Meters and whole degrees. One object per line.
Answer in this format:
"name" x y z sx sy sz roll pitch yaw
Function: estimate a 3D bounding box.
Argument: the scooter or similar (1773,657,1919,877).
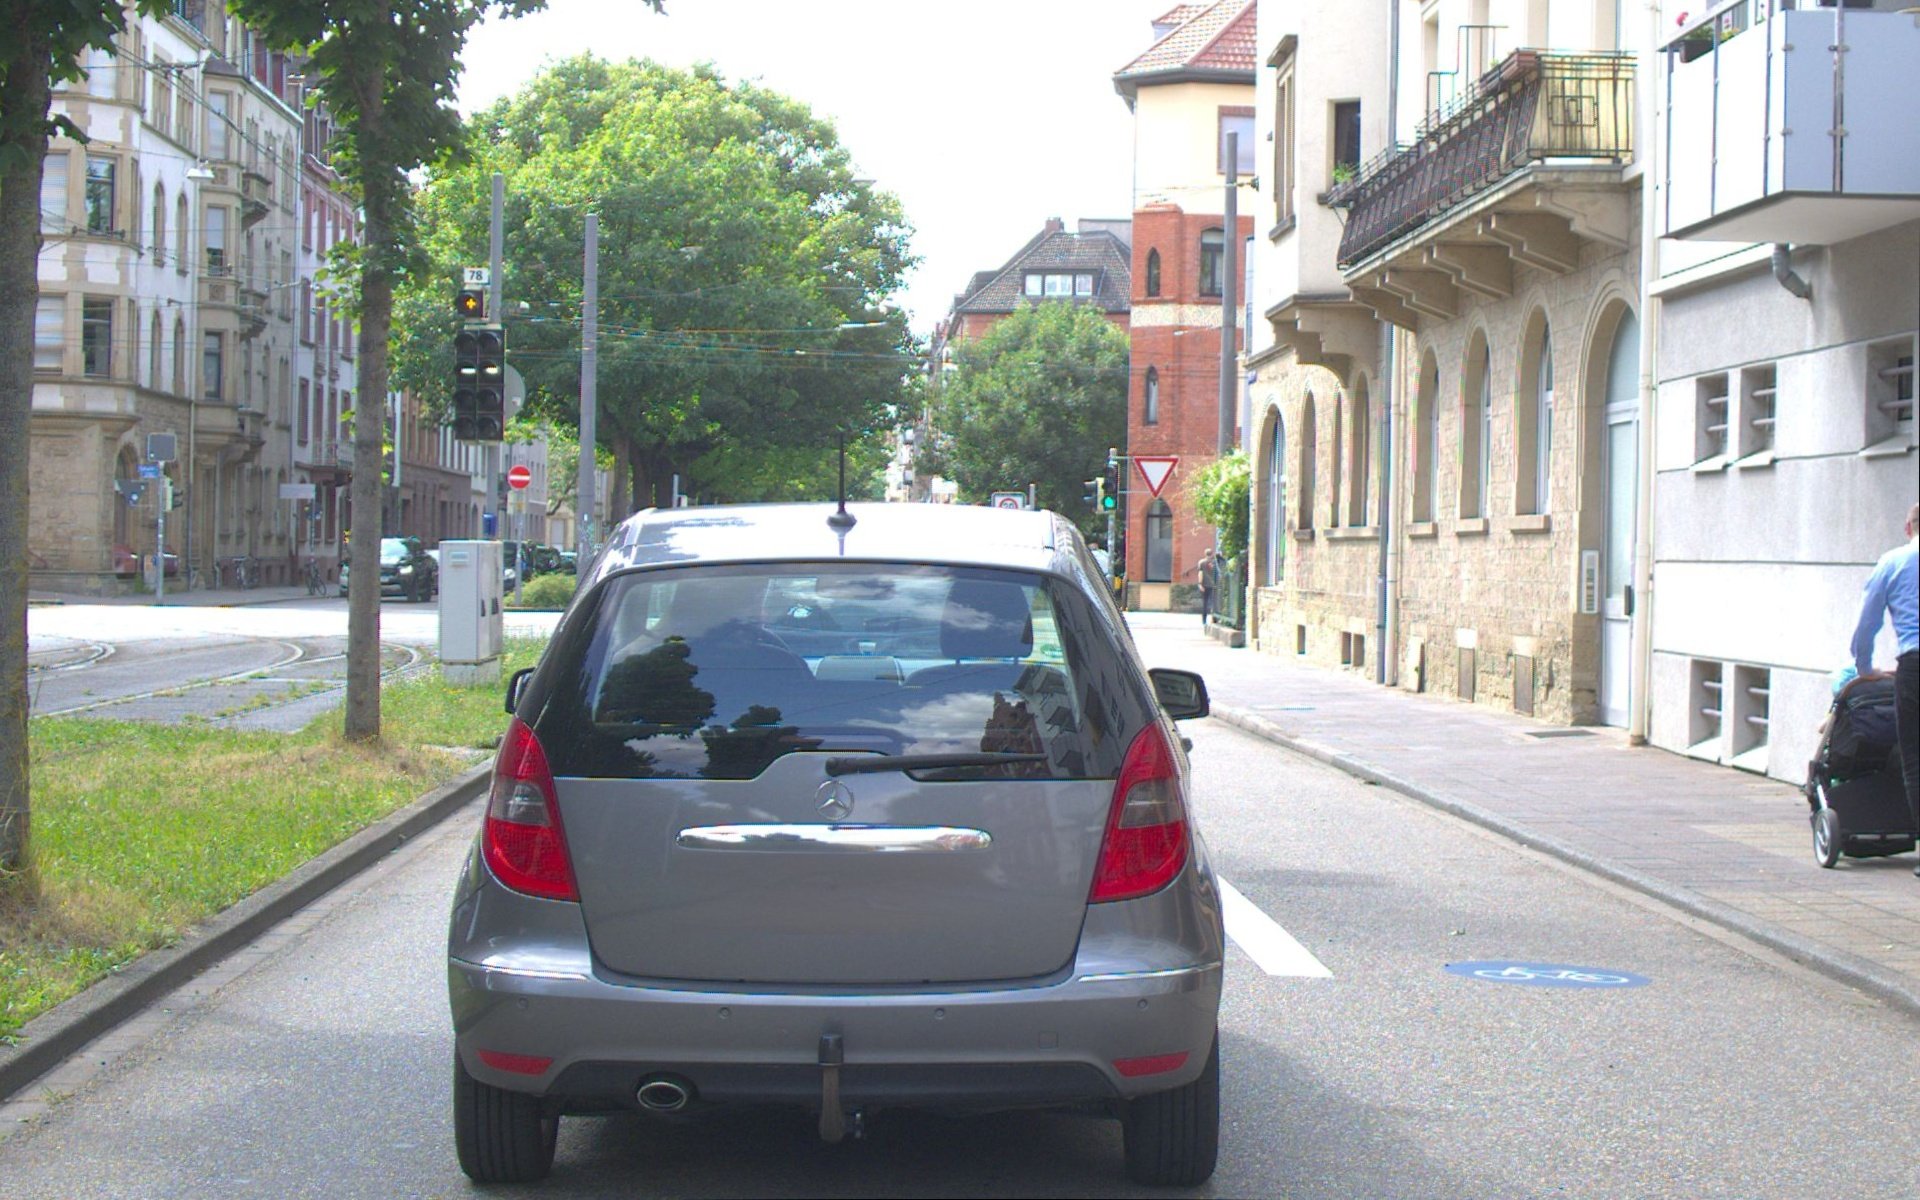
"scooter or similar" 4.440 0.812 16.952 0.592 0.998 0.906 -3 1 -1

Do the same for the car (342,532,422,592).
"car" -16.064 -1.066 95.693 1.993 1.612 4.001 0 1 -7

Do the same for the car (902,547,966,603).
"car" -0.767 -0.764 103.980 1.752 1.627 3.499 1 1 2

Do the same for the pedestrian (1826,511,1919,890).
"pedestrian" 4.511 0.448 16.162 0.621 1.733 0.877 -1 1 -1

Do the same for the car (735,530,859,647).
"car" -2.426 -0.191 51.974 1.722 1.700 3.677 1 1 -1

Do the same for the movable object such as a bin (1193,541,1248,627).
"movable object such as a bin" 4.512 -0.284 59.639 0.714 1.467 0.983 0 1 -10

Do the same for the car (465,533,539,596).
"car" -12.942 -1.008 97.233 1.993 1.722 4.001 0 1 -7

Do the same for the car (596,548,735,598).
"car" -8.467 -0.775 98.586 1.969 1.334 3.999 1 1 -40

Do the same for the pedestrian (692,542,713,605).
"pedestrian" -7.035 -0.723 93.789 0.493 1.719 0.654 1 1 -8

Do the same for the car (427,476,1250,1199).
"car" -0.277 0.523 9.093 1.722 1.600 3.677 1 1 -1

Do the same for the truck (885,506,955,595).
"truck" -1.344 -1.688 116.826 2.123 2.960 4.000 1 1 2

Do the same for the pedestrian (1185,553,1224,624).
"pedestrian" 5.764 -0.266 81.054 0.869 1.651 0.736 1 1 3
